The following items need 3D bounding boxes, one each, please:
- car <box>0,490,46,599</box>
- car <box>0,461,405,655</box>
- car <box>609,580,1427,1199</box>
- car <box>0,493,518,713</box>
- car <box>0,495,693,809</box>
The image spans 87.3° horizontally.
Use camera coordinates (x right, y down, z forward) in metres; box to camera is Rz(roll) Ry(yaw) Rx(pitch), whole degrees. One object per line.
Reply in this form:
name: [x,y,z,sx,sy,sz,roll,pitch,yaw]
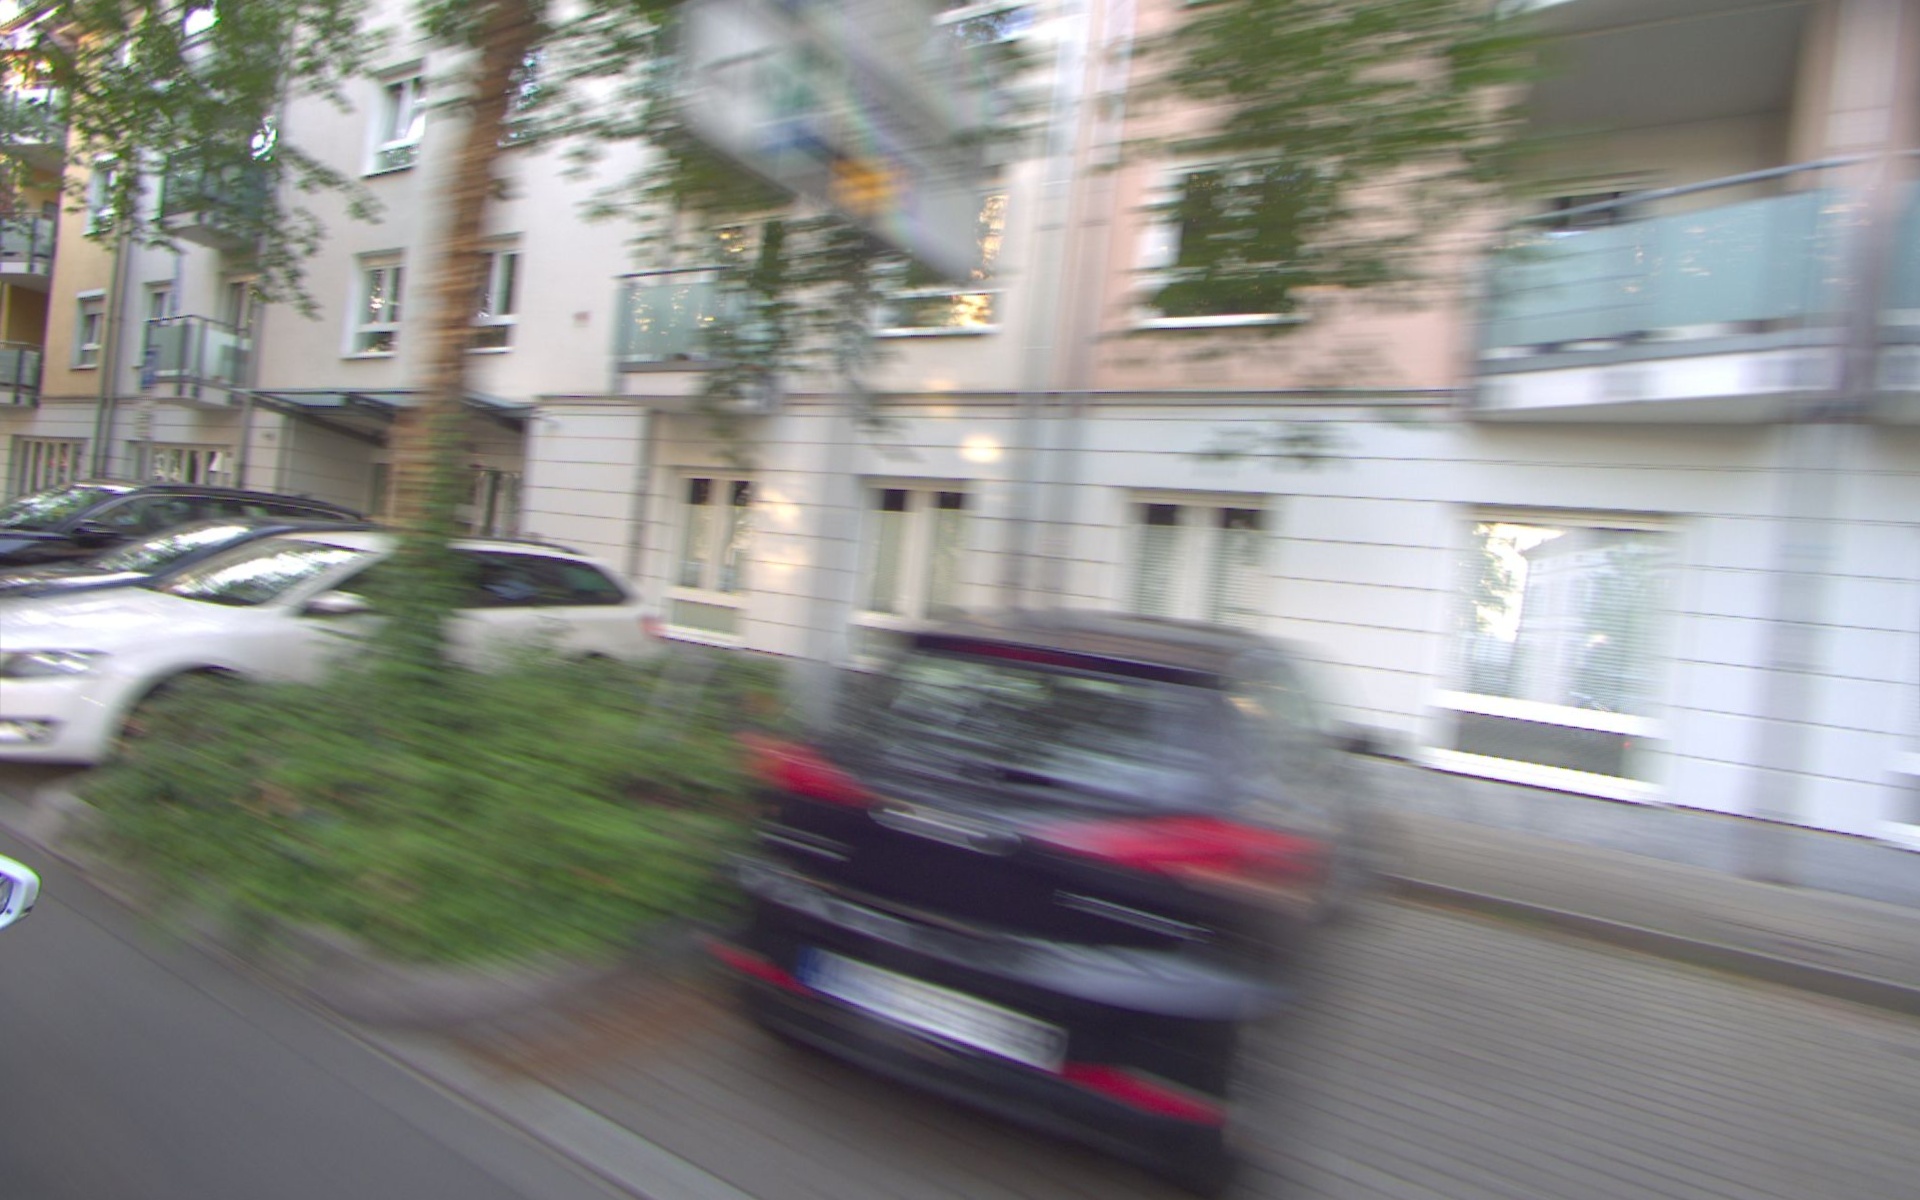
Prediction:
car: [-15.665,-1.034,14.080,1.845,1.563,3.784,7,-1,29]
car: [-8.426,-0.438,10.087,1.975,1.639,4.646,7,3,27]
car: [0.807,0.794,4.209,1.900,1.471,4.088,7,2,25]
car: [-6.328,-0.030,8.685,1.898,1.458,4.221,7,3,32]
car: [-4.256,0.230,7.139,1.766,1.488,4.602,7,2,30]
